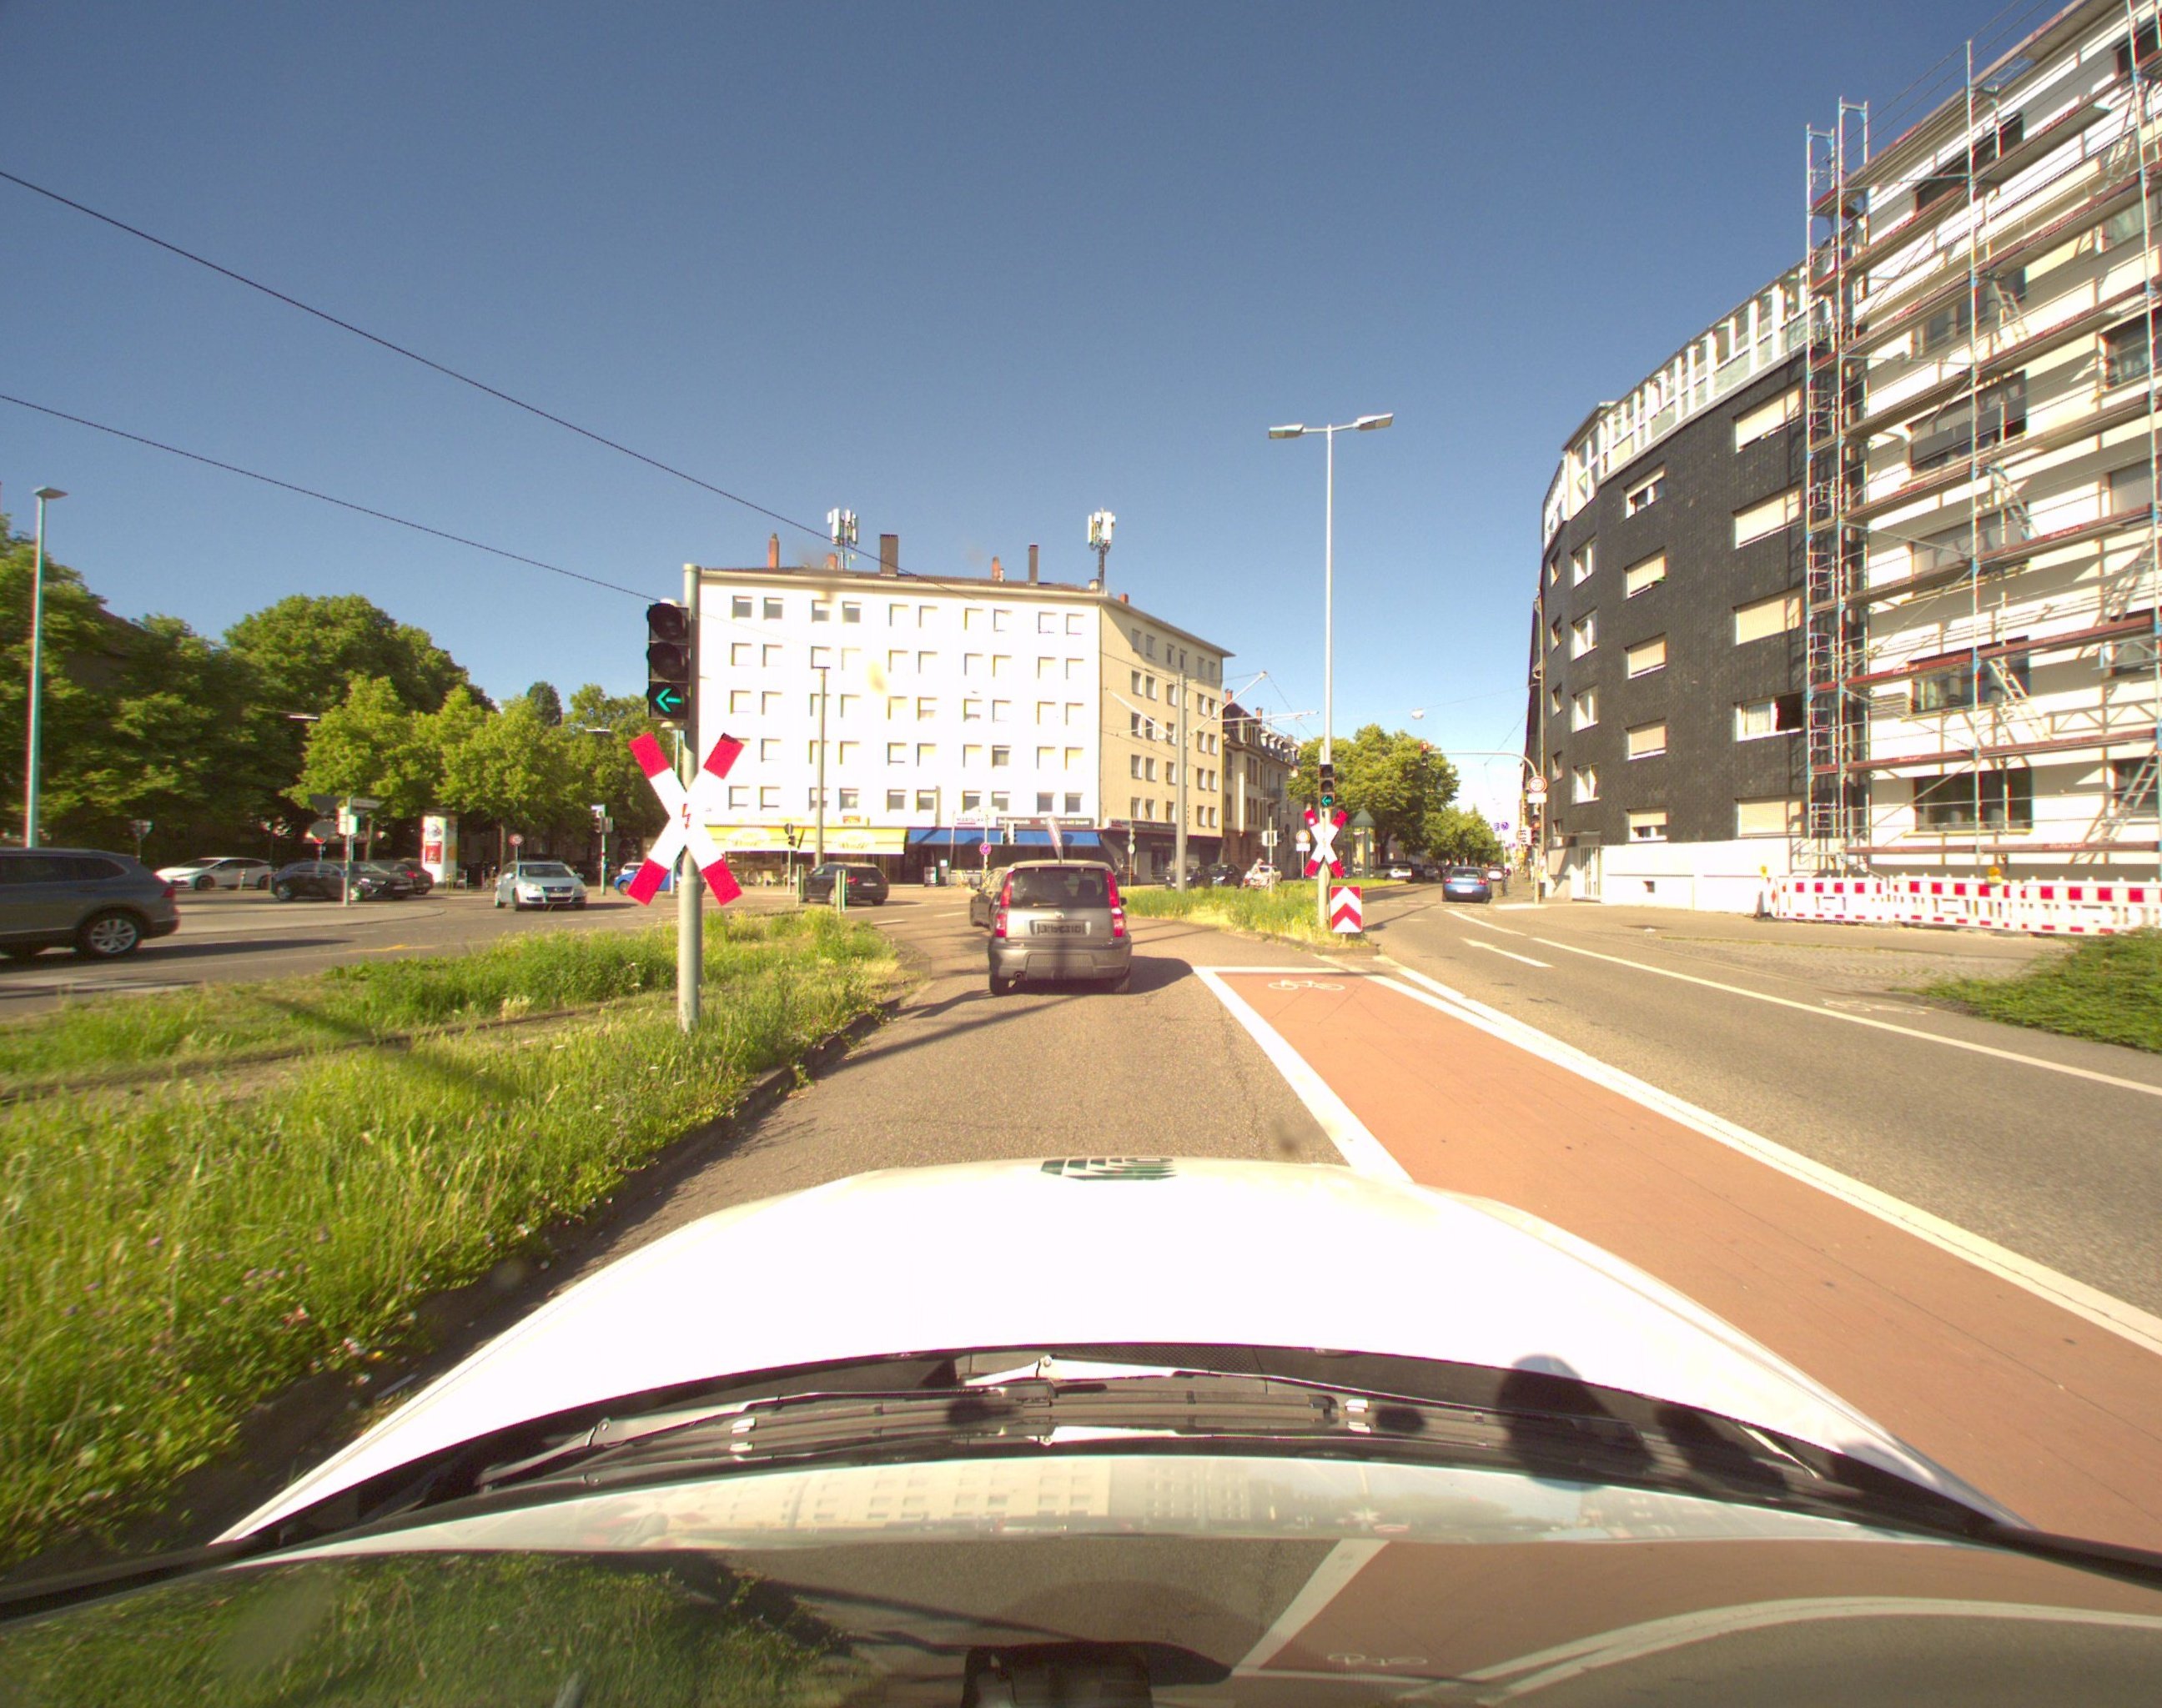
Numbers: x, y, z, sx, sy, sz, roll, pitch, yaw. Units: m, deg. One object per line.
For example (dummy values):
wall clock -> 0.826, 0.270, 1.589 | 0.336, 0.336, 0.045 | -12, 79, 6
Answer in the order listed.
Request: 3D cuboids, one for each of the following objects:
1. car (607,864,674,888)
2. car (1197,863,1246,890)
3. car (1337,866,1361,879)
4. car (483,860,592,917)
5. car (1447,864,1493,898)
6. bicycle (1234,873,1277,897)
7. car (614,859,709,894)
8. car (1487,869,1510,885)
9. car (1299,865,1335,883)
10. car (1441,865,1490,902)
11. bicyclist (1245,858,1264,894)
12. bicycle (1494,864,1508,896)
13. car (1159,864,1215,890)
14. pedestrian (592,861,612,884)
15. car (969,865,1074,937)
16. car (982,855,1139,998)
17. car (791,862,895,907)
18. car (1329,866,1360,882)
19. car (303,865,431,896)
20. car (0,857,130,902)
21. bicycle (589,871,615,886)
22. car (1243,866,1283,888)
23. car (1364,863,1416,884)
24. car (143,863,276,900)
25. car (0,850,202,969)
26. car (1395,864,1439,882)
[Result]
car -> -25.573, 1.261, 47.443 | 1.991, 1.310, 3.991 | 0, -1, -6
car -> 8.665, 1.344, 50.087 | 1.773, 1.565, 3.789 | 0, -1, 29
car -> 30.444, 2.115, 92.490 | 1.975, 1.395, 4.024 | 0, -1, 28
car -> -16.440, 0.965, 24.514 | 4.822, 1.442, 1.744 | 1, -1, 45
car -> 18.465, 1.247, 38.541 | 1.802, 1.508, 4.024 | 0, -1, 28
bicycle -> 7.631, 1.363, 35.635 | 1.839, 1.032, 0.591 | 0, -1, 11
car -> -18.116, 0.956, 35.186 | 3.360, 1.438, 1.657 | 0, -1, 14
car -> 43.203, 2.376, 84.182 | 1.975, 1.618, 4.024 | 0, -2, 29
car -> 20.073, 1.643, 69.046 | 1.974, 1.473, 4.025 | 0, -1, 31
car -> 16.146, 1.190, 34.144 | 1.758, 1.442, 3.640 | 1, 0, 27
bicyclist -> 7.601, 0.971, 35.649 | 0.816, 1.559, 0.564 | 0, -1, 11
bicycle -> 20.393, 1.244, 39.494 | 0.568, 1.511, 2.824 | 0, -1, 28
car -> 5.865, 1.243, 44.895 | 1.773, 1.396, 3.748 | 0, -1, 29
pedestrian -> -30.409, 1.162, 51.730 | 0.774, 1.428, 0.935 | 1, -1, -11
car -> -1.442, 0.976, 18.418 | 1.625, 1.429, 3.667 | 1, -1, -17
car -> -0.320, 0.791, 10.270 | 1.657, 1.510, 3.246 | 0, -1, -4
car -> -8.457, 1.023, 28.740 | 1.775, 1.486, 4.241 | 1, -1, -43
car -> 25.762, 1.898, 79.503 | 1.974, 1.487, 4.025 | 0, -1, 31
car -> -29.773, 1.086, 34.048 | 3.615, 1.253, 1.690 | 1, -1, -11
car -> -36.723, 0.870, 28.309 | 4.535, 1.489, 1.747 | 1, -1, -14
bicycle -> -30.410, 1.547, 51.727 | 0.783, 0.951, 1.849 | 2, -2, -11
car -> 12.600, 1.554, 56.286 | 1.773, 1.483, 3.553 | 0, -1, 29
car -> 24.936, 1.551, 65.855 | 1.910, 1.594, 3.975 | 1, -1, -19
car -> -40.674, 1.256, 38.175 | 1.756, 1.617, 4.222 | 1, -1, -3
car -> -15.501, 0.741, 10.996 | 1.743, 1.614, 4.734 | 0, -1, 8
car -> 34.336, 1.886, 83.357 | 3.770, 1.786, 1.852 | 0, -1, 41
